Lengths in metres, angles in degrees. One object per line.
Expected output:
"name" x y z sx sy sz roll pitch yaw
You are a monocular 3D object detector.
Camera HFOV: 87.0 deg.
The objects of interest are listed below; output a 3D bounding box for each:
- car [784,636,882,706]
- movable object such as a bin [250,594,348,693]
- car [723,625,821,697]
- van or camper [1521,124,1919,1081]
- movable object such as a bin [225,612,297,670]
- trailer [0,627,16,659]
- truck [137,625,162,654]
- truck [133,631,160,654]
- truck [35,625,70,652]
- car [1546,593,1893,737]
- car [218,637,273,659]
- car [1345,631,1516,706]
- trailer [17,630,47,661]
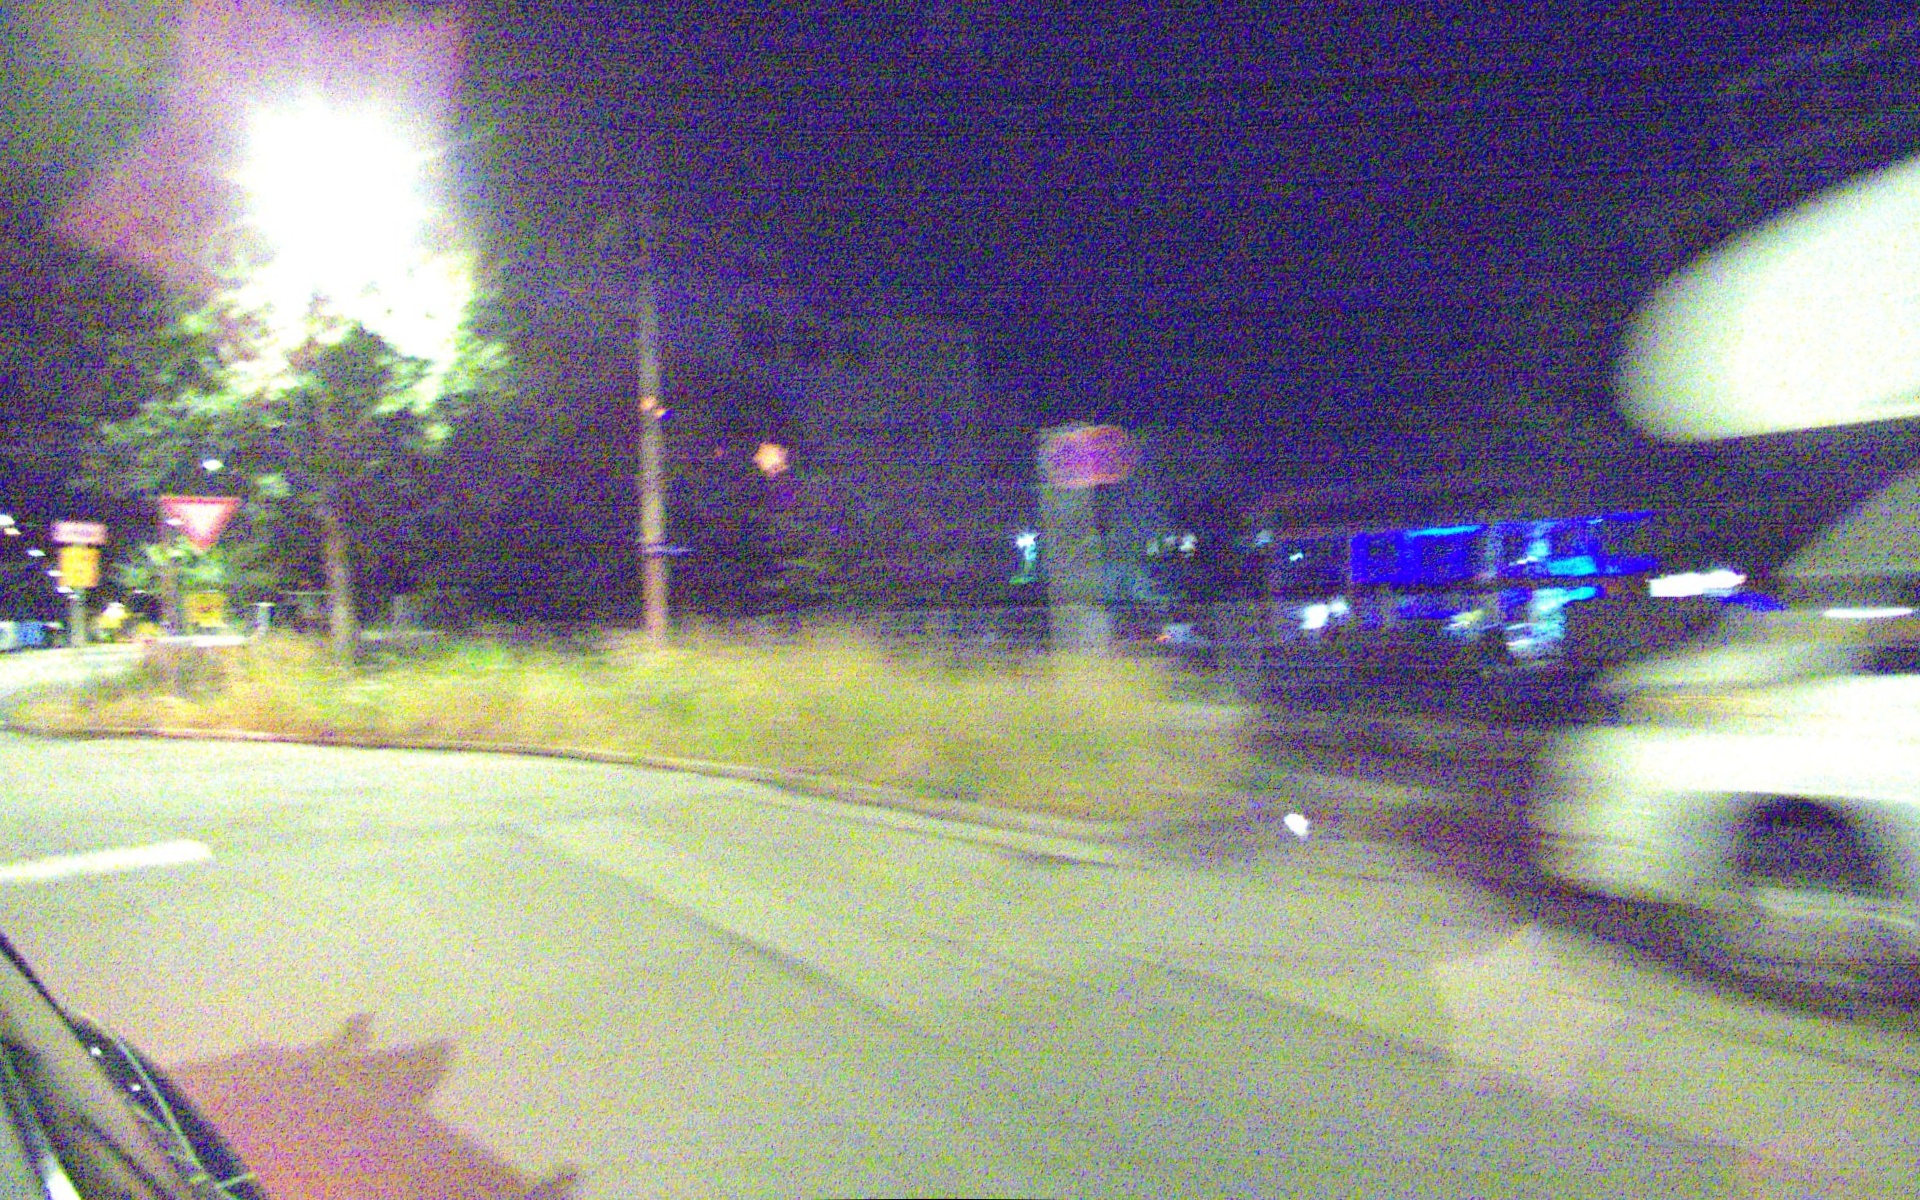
"car" -5.287 2.857 41.595 1.967 2.574 4.493 -2 -1 -36
"movable object such as a bin" -19.622 1.308 30.005 3.701 2.755 1.553 -4 -5 43
"car" -7.458 2.362 39.804 1.967 2.574 4.493 -2 -1 -36
"van or camper" 5.671 -0.045 2.108 2.487 3.118 7.459 1 -2 -39
"movable object such as a bin" -30.807 1.794 44.605 2.828 2.486 1.538 -2 -2 29
"trailer" -83.227 3.769 87.463 1.968 2.671 4.008 -2 -1 -37
"truck" -125.070 6.049 156.293 2.604 4.347 12.850 1 -2 -37
"truck" -142.998 7.510 177.801 2.788 3.659 10.410 -2 -1 -44
"truck" -138.742 5.943 154.852 2.476 3.866 12.688 -2 -1 -35
"car" 15.958 1.270 21.861 1.966 2.574 5.895 -3 -1 -16
"car" -73.189 4.871 103.652 4.377 1.987 2.003 -2 -1 -41
"car" 13.588 1.909 29.573 1.966 1.898 4.495 -3 -1 -16
"trailer" -105.423 5.181 114.938 2.369 3.351 4.367 -2 -1 -43
